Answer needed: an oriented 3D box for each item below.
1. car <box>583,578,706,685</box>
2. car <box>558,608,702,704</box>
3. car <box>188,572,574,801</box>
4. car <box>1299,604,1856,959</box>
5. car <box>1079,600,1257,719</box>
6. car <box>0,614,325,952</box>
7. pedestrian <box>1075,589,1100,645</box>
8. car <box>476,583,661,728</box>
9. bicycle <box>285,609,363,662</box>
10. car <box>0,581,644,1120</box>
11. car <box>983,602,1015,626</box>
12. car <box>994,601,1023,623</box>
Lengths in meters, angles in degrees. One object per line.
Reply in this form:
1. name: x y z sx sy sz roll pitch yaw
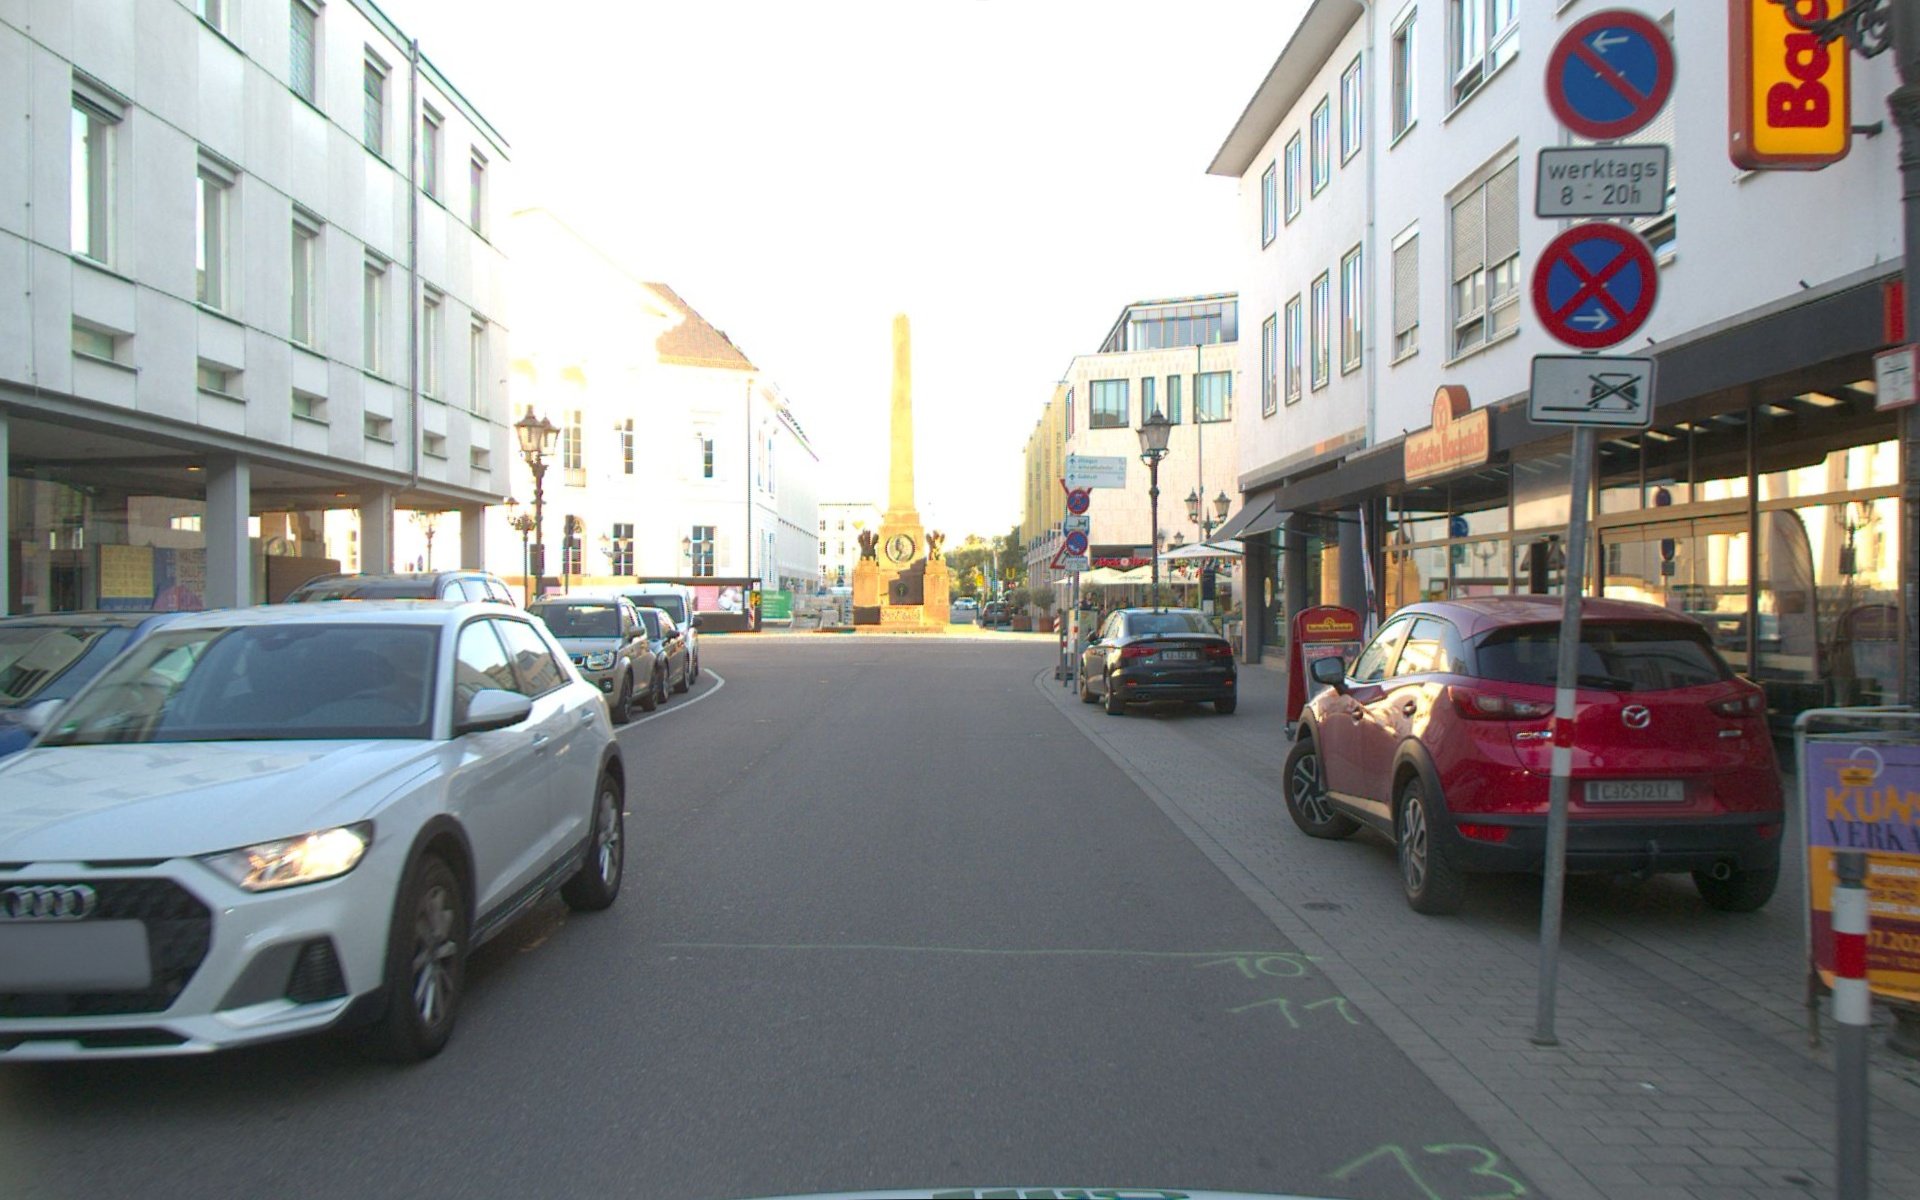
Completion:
1. car: -5.834 0.541 31.089 1.956 1.847 4.776 0 0 -7
2. car: -5.149 0.831 26.232 1.644 1.377 4.103 0 0 -3
3. car: -5.098 0.680 15.316 1.953 1.758 4.515 -1 0 0
4. car: 3.114 0.807 9.167 1.723 1.550 3.677 0 0 0
5. car: 2.805 0.759 23.172 1.766 1.489 4.114 -1 0 -3
6. car: -5.038 0.824 9.038 1.639 1.424 3.999 -1 0 -1
7. pedestrian: 3.836 0.499 49.725 0.676 1.676 0.695 0 0 -1
8. car: -4.948 0.645 21.407 1.956 1.691 3.993 0 0 -8
9. bicycle: -12.785 0.696 33.322 0.718 1.001 2.335 0 0 -2
10. car: -2.506 0.686 6.513 1.728 1.447 4.000 -1 0 0
11. car: 2.455 0.859 104.675 1.952 1.489 4.000 0 0 1
12. car: 3.321 0.819 113.154 1.952 1.489 4.000 0 0 1
